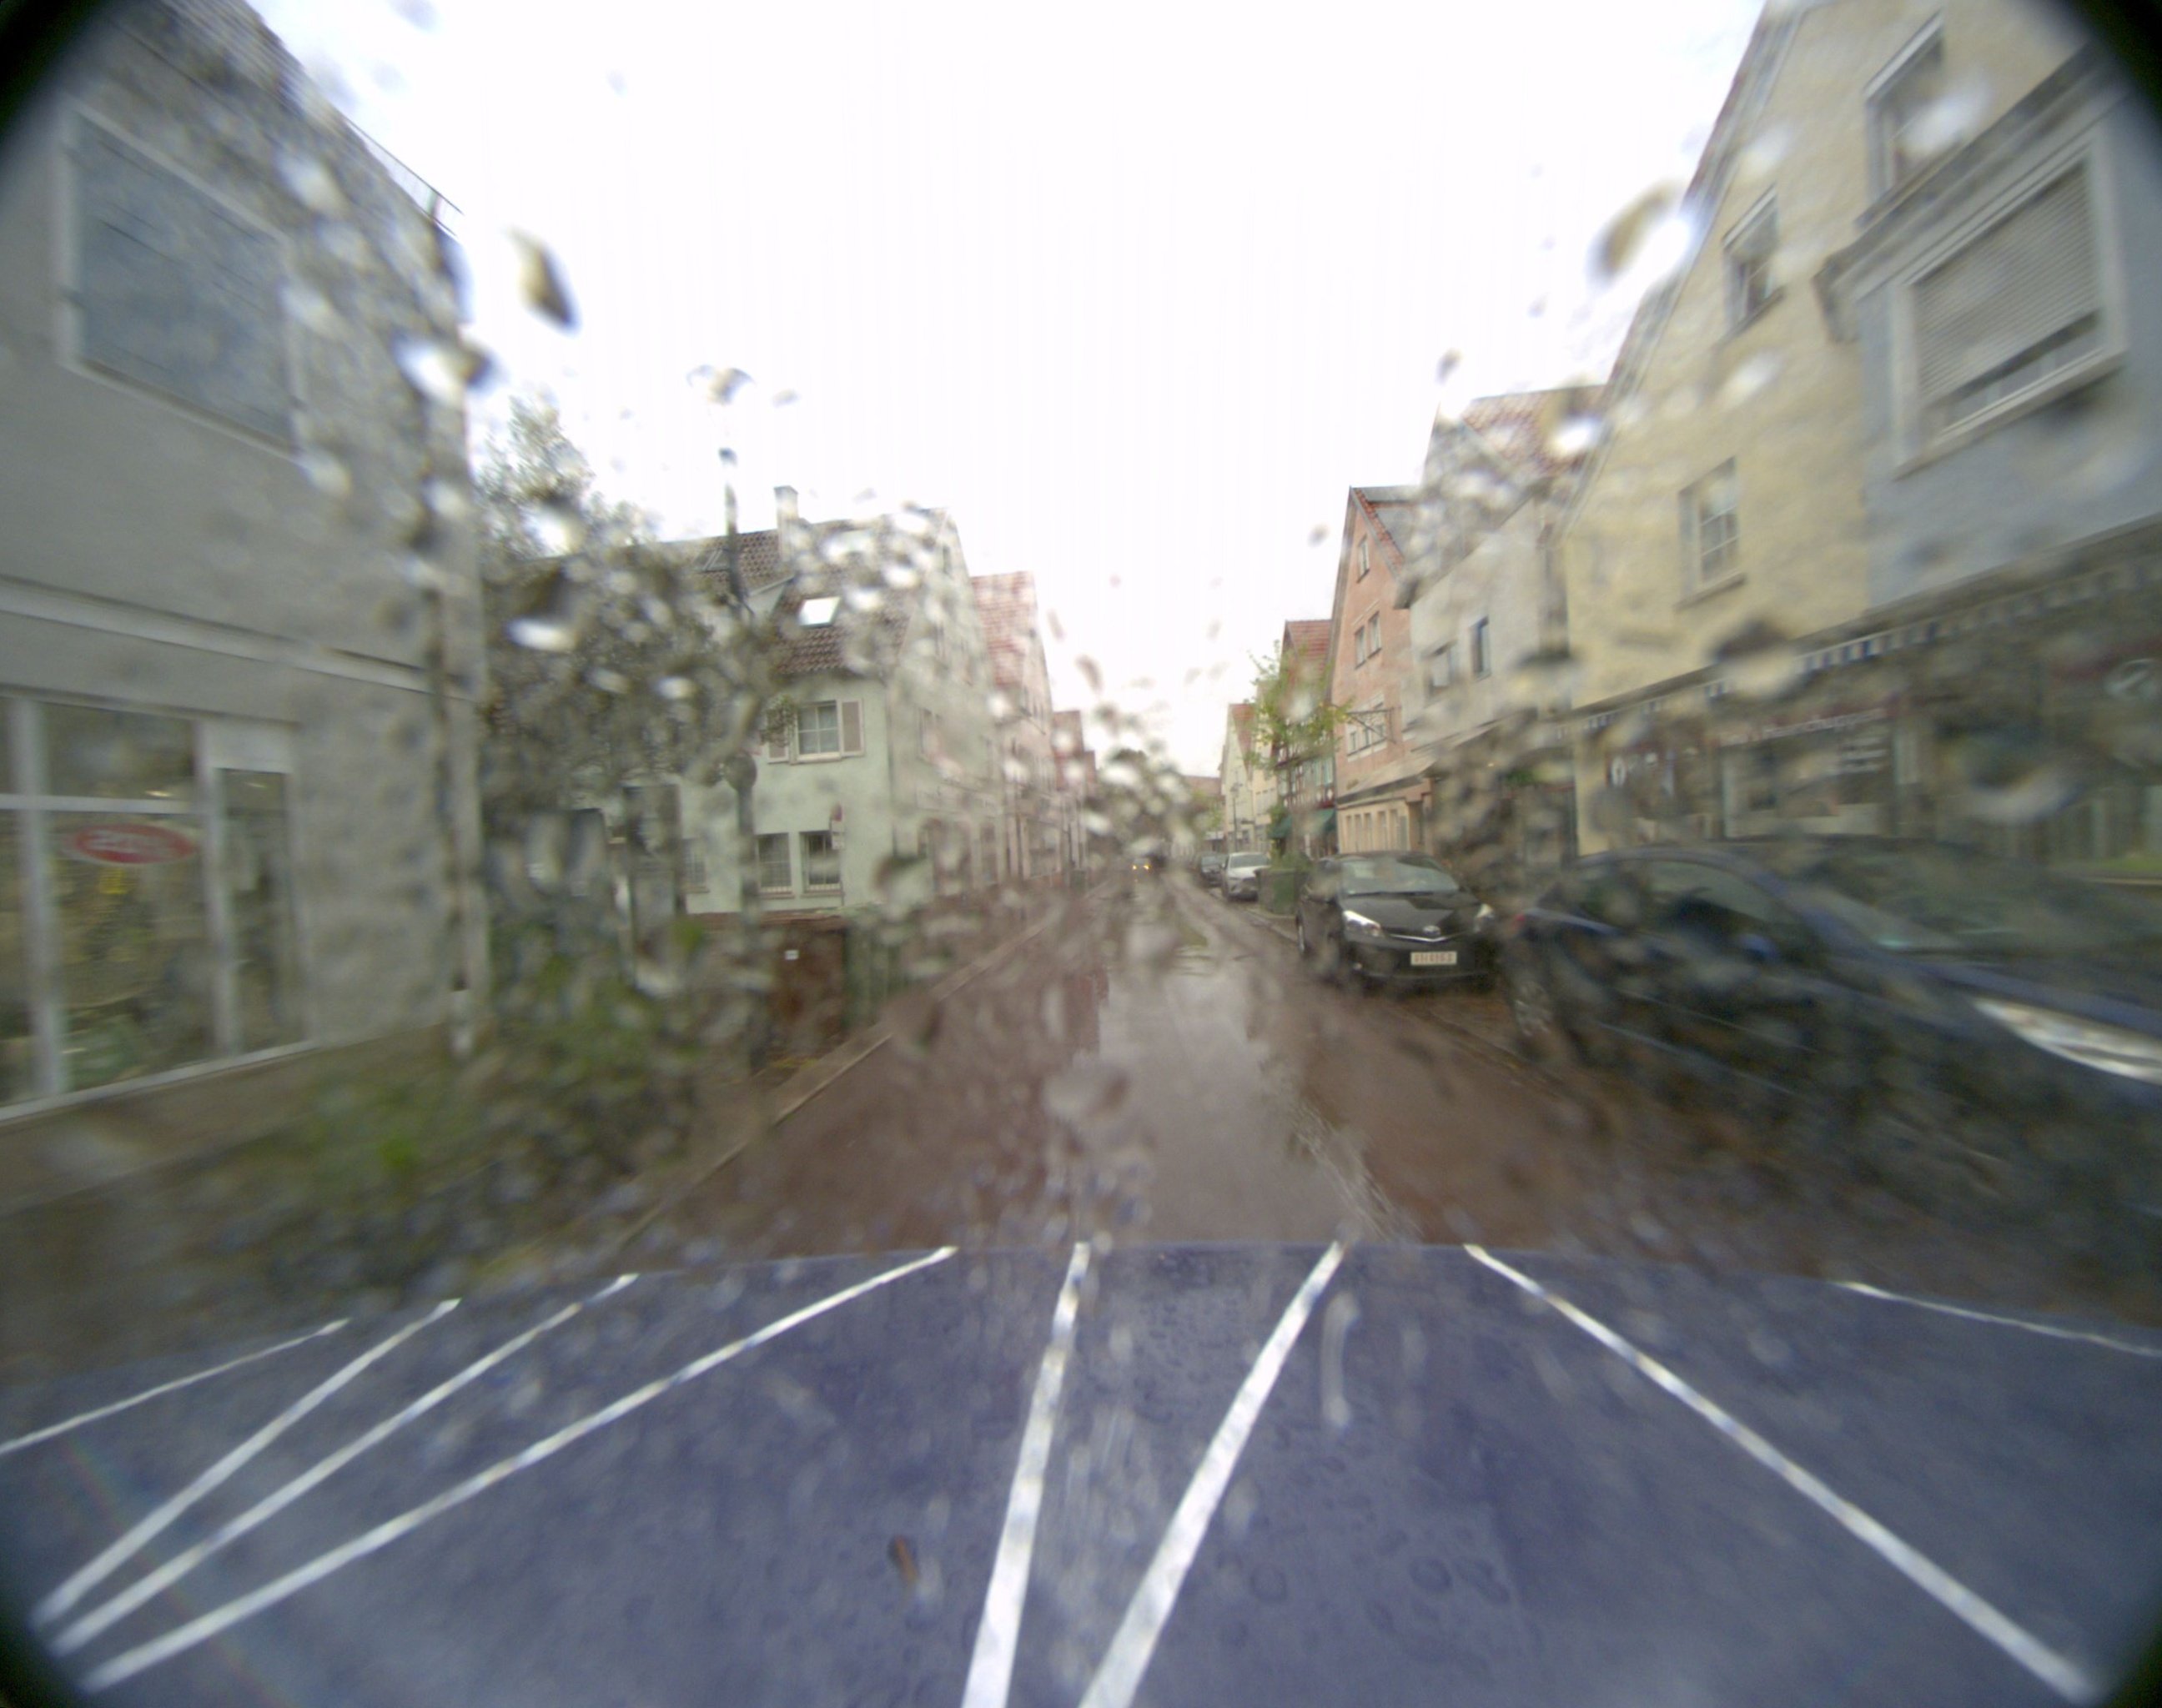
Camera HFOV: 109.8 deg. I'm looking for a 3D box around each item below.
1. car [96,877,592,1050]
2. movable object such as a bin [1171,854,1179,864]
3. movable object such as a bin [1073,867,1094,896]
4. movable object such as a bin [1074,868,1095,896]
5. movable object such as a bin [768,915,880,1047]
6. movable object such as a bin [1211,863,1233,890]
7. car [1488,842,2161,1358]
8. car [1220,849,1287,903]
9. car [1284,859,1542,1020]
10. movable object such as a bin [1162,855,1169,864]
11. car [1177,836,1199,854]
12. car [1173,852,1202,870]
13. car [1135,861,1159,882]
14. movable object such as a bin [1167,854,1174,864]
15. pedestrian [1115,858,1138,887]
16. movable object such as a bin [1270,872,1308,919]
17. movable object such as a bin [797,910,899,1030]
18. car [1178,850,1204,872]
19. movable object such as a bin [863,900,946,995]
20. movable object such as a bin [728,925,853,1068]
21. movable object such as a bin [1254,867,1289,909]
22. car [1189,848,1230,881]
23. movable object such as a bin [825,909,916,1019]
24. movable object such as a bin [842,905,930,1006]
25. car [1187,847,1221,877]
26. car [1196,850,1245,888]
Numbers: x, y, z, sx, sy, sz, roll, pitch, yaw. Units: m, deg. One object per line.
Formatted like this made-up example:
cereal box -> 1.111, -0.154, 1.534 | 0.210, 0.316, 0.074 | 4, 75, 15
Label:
car -> -9.367, 1.218, 10.129 | 1.883, 1.590, 4.400 | -3, 0, 43
movable object such as a bin -> 11.274, 0.629, 91.085 | 0.726, 1.077, 0.605 | -3, 2, 29
movable object such as a bin -> 0.101, 1.105, 30.522 | 0.798, 1.074, 0.583 | -3, 2, 3
movable object such as a bin -> 0.142, 1.136, 31.138 | 0.794, 1.074, 0.615 | -3, 2, 3
movable object such as a bin -> -2.385, 1.164, 7.118 | 0.737, 1.092, 0.611 | -3, 2, 5
movable object such as a bin -> 5.974, 0.966, 32.268 | 0.771, 1.076, 0.676 | -3, 2, 1
car -> 4.046, 0.745, 3.791 | 1.761, 1.465, 3.944 | -4, -1, -1
car -> 5.699, 0.693, 25.525 | 1.695, 1.529, 4.123 | -4, -1, 7
car -> 3.643, 0.831, 9.134 | 1.695, 1.435, 3.887 | -4, -1, 6
movable object such as a bin -> 10.263, 0.637, 91.930 | 0.538, 1.124, 0.729 | 0, 1, 36
car -> 10.137, -0.809, 71.953 | 1.865, 1.515, 4.330 | -5, 0, 8
car -> 9.244, 0.599, 66.272 | 1.866, 1.433, 4.620 | -3, 0, 1
car -> 5.554, 1.434, 64.060 | 1.784, 1.529, 4.292 | -5, -1, 4
movable object such as a bin -> 10.794, 0.624, 91.541 | 0.538, 1.136, 0.729 | -1, 1, 36
pedestrian -> 2.900, 1.164, 48.035 | 1.174, 1.672, 0.791 | -3, 2, 18
movable object such as a bin -> 4.925, 0.972, 18.043 | 0.710, 1.046, 0.704 | -4, 0, 7
movable object such as a bin -> -2.351, 1.160, 7.721 | 0.737, 1.092, 0.611 | -3, 2, 5
car -> 8.772, 0.546, 60.771 | 1.865, 1.515, 4.330 | -5, 0, 8
movable object such as a bin -> -2.205, 1.163, 9.558 | 0.770, 1.073, 0.599 | -4, 2, 7
movable object such as a bin -> -2.455, 1.189, 6.484 | 0.755, 1.084, 0.656 | -2, 1, 3
movable object such as a bin -> 5.182, 0.919, 20.720 | 0.788, 1.078, 0.693 | -4, -1, 8
car -> 7.262, 0.542, 43.199 | 1.828, 1.656, 4.643 | -4, 1, 5
movable object such as a bin -> -2.289, 1.190, 8.303 | 0.730, 1.085, 0.521 | -4, 2, 7
movable object such as a bin -> -2.277, 1.182, 8.945 | 0.756, 1.058, 0.600 | -4, 2, 7
car -> 7.966, 0.487, 49.657 | 1.828, 1.657, 4.643 | -4, 1, 6
car -> 6.564, 0.697, 36.142 | 1.784, 1.529, 4.292 | -5, -1, 4
